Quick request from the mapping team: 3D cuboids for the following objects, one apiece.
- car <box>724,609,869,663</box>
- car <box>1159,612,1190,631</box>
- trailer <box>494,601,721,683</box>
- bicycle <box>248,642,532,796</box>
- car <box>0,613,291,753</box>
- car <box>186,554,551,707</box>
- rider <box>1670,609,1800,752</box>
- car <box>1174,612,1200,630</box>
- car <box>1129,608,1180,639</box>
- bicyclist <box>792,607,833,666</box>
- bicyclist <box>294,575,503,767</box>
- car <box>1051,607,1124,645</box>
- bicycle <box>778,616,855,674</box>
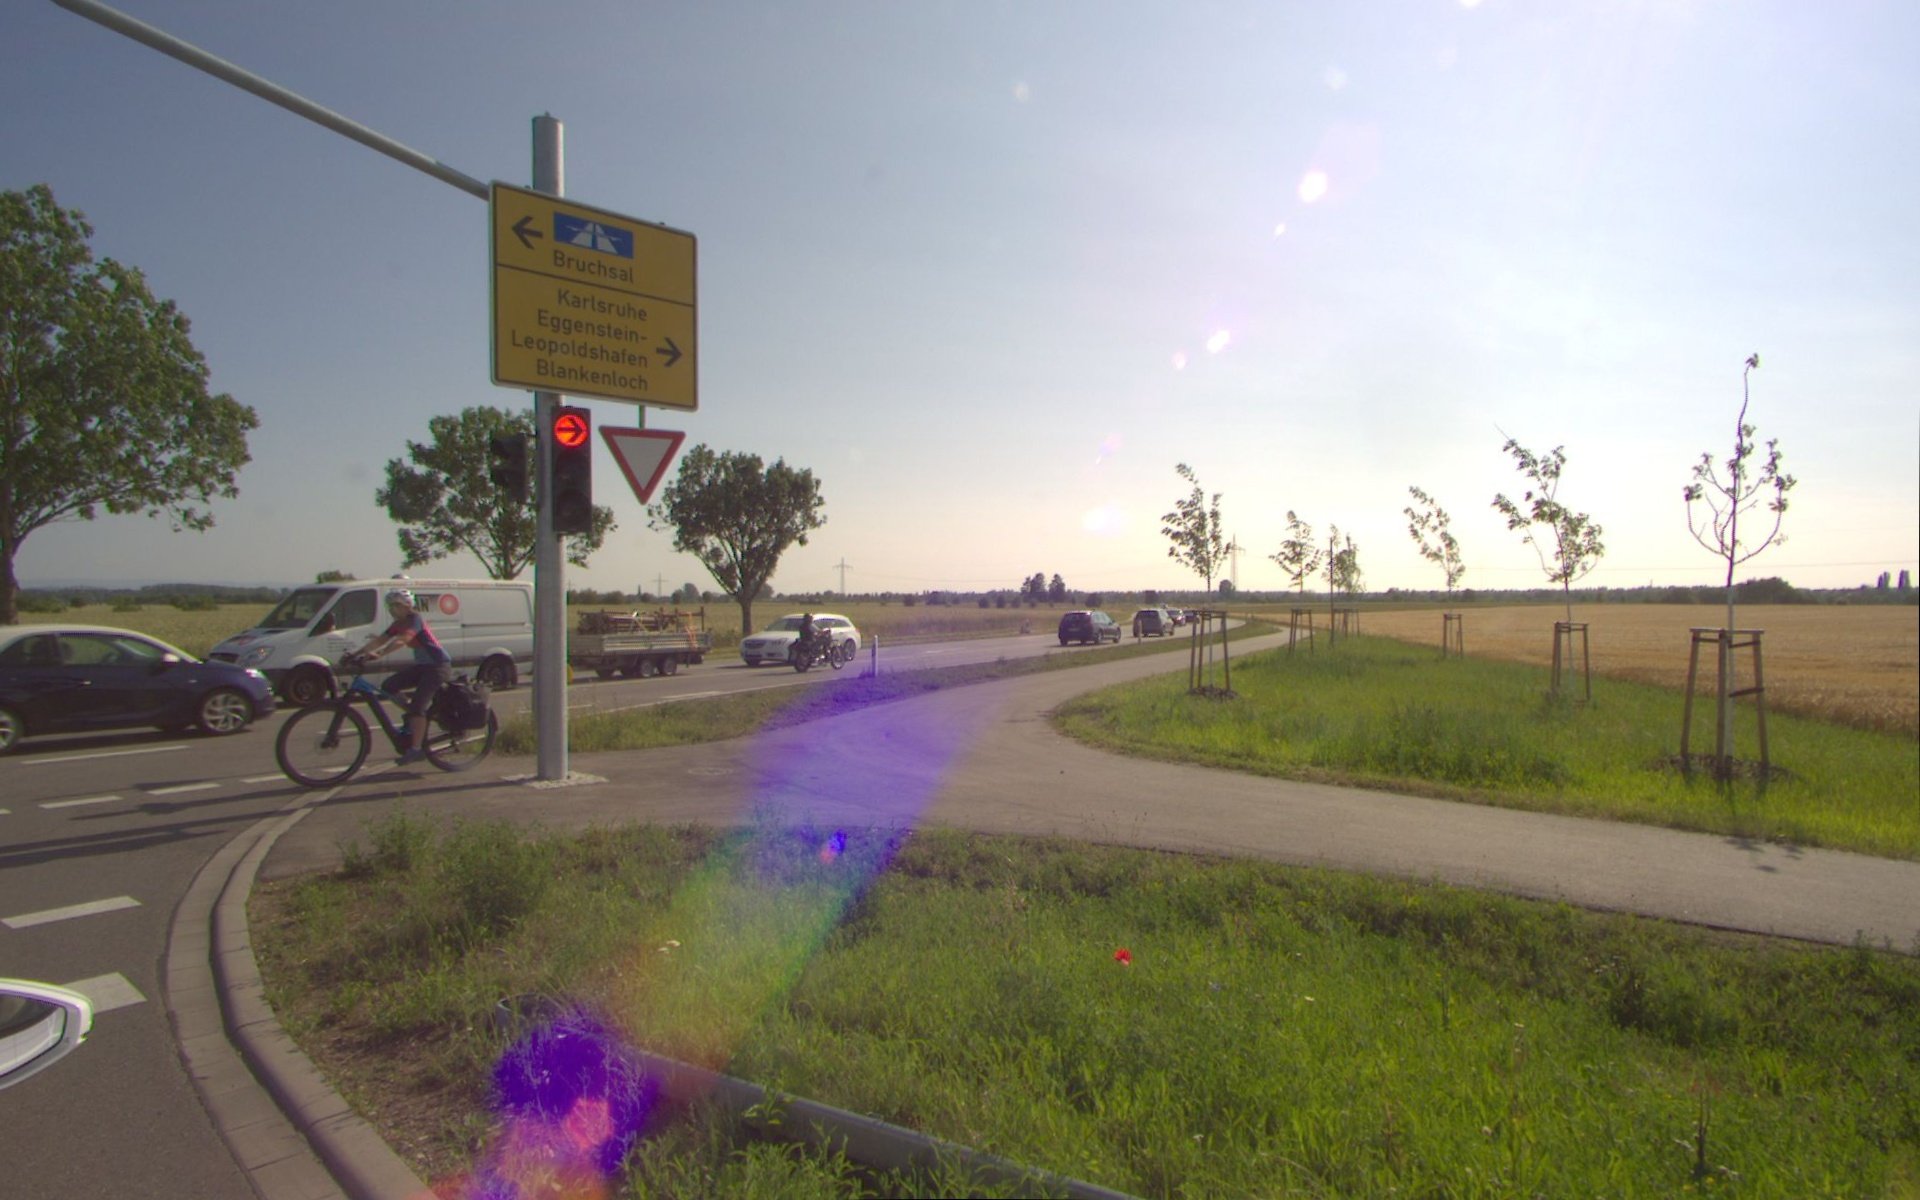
[{"bbox_3d":[-4.953,1.116,31.051,1.969,1.529,4.868,-1,-2,27],"label":"car"},{"bbox_3d":[18.363,1.830,85.662,1.986,1.609,4.875,1,-1,19],"label":"car"},{"bbox_3d":[-8.425,0.940,24.485,1.924,1.776,5.253,-1,-1,30],"label":"trailer"},{"bbox_3d":[-5.171,1.013,9.272,0.876,1.201,2.154,-1,-1,28],"label":"bicycle"},{"bbox_3d":[-10.808,0.949,12.501,1.703,1.477,3.721,0,1,31],"label":"car"},{"bbox_3d":[-11.195,0.522,19.597,1.970,2.525,5.948,-1,0,30],"label":"car"},{"bbox_3d":[9.562,0.963,12.372,0.973,1.665,0.819,0,1,-17],"label":"rider"},{"bbox_3d":[22.392,2.111,98.602,1.964,1.713,4.877,0,-1,19],"label":"car"},{"bbox_3d":[11.102,1.380,56.925,1.737,1.689,3.953,-1,-2,29],"label":"car"},{"bbox_3d":[-3.861,0.958,26.246,0.746,1.508,0.807,-1,-2,28],"label":"bicyclist"},{"bbox_3d":[-5.188,0.604,9.304,1.147,1.622,1.278,1,0,28],"label":"bicyclist"},{"bbox_3d":[5.704,1.089,44.209,1.890,1.539,4.673,1,0,24],"label":"car"},{"bbox_3d":[-3.755,1.148,26.493,0.720,1.415,2.490,-1,0,26],"label":"bicycle"}]
